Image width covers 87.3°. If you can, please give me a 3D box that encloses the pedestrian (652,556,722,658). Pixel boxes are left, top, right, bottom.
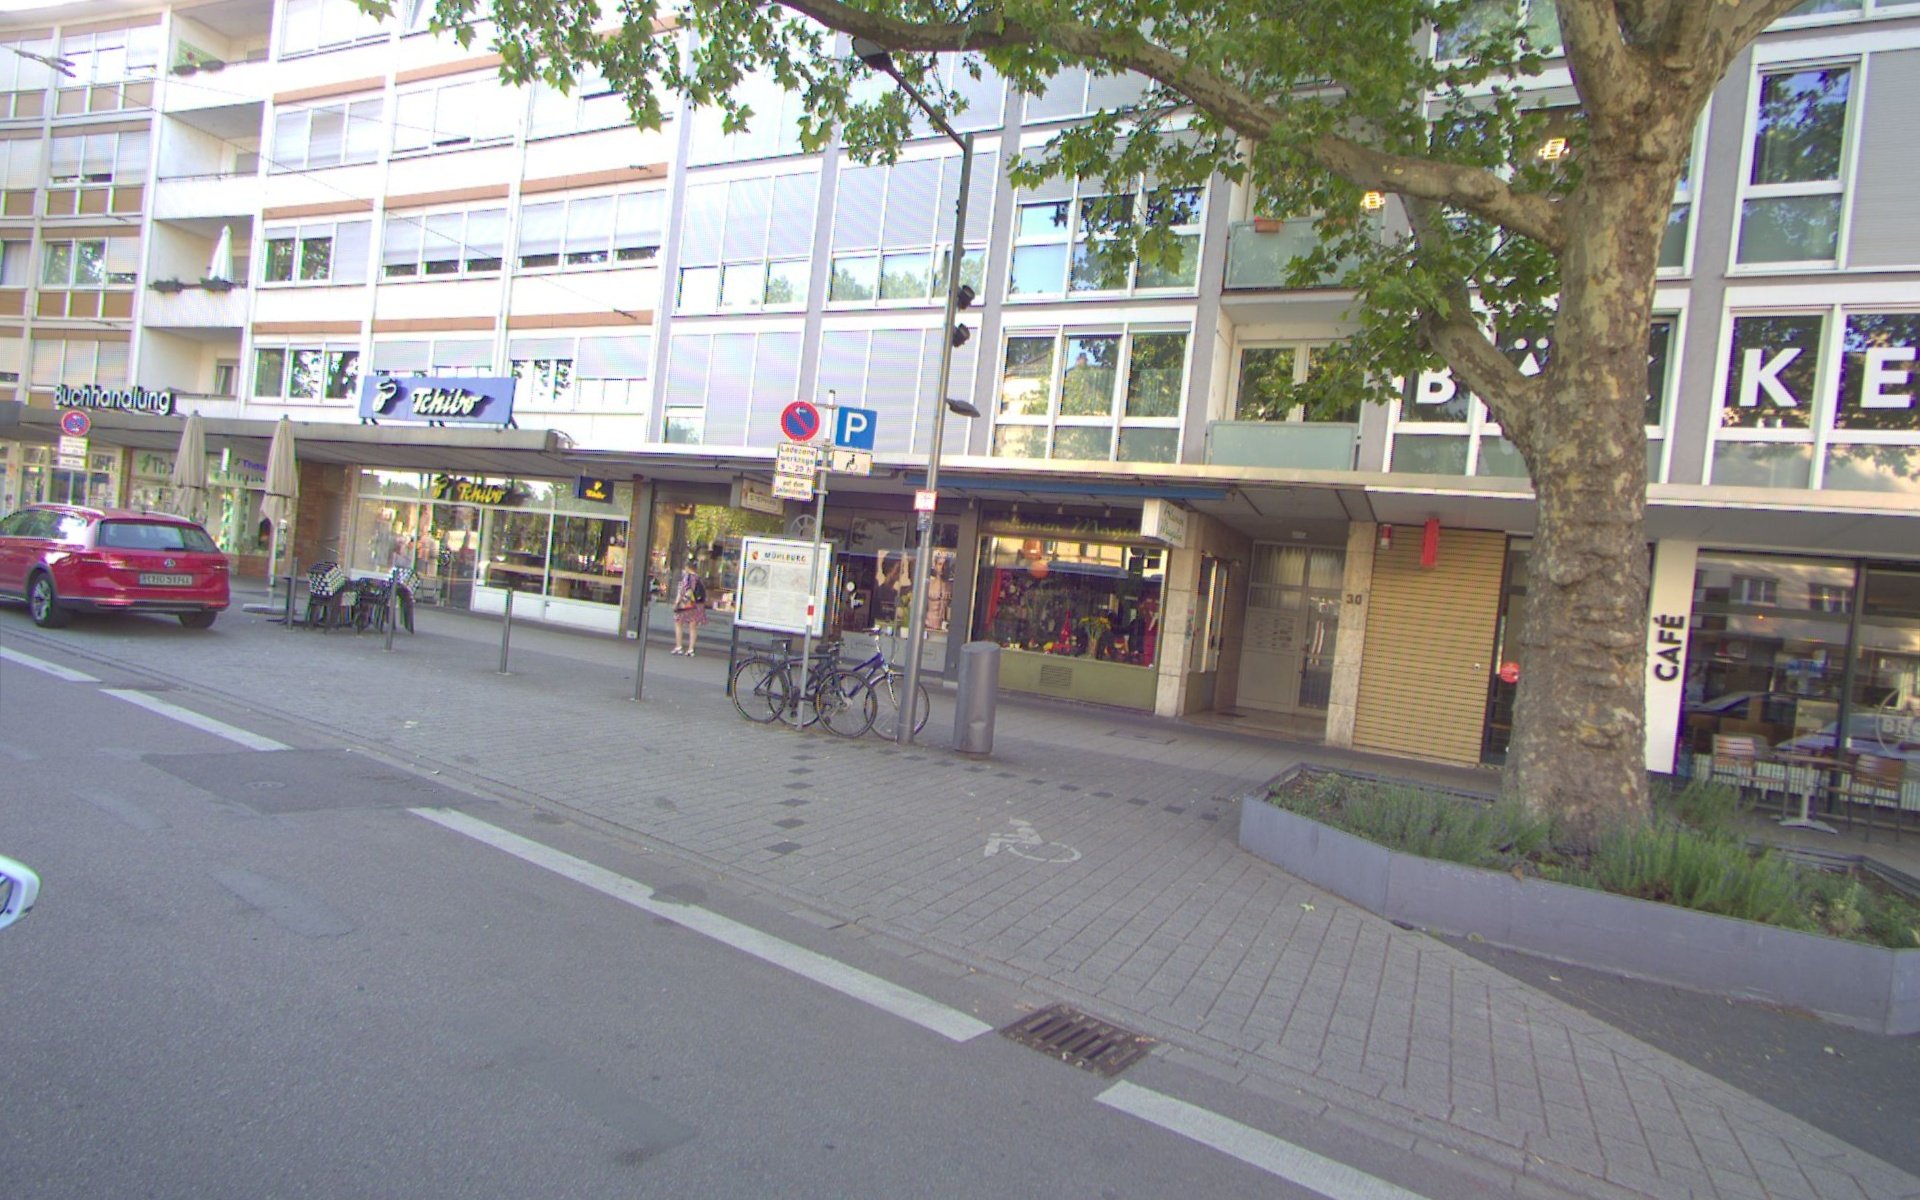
[{"bbox_3d":[-4.586,0.120,16.927,0.776,1.613,0.651,7,2,26],"label":"pedestrian"}]

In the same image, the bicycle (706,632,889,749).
[{"bbox_3d":[-1.656,0.899,10.244,1.743,0.951,0.391,6,2,12],"label":"bicycle"}]

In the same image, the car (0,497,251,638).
[{"bbox_3d":[-11.656,-0.492,13.461,4.229,1.502,1.772,6,1,28],"label":"car"}]

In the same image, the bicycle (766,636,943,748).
[{"bbox_3d":[-1.107,0.943,10.552,1.743,0.931,0.391,6,2,12],"label":"bicycle"}]
